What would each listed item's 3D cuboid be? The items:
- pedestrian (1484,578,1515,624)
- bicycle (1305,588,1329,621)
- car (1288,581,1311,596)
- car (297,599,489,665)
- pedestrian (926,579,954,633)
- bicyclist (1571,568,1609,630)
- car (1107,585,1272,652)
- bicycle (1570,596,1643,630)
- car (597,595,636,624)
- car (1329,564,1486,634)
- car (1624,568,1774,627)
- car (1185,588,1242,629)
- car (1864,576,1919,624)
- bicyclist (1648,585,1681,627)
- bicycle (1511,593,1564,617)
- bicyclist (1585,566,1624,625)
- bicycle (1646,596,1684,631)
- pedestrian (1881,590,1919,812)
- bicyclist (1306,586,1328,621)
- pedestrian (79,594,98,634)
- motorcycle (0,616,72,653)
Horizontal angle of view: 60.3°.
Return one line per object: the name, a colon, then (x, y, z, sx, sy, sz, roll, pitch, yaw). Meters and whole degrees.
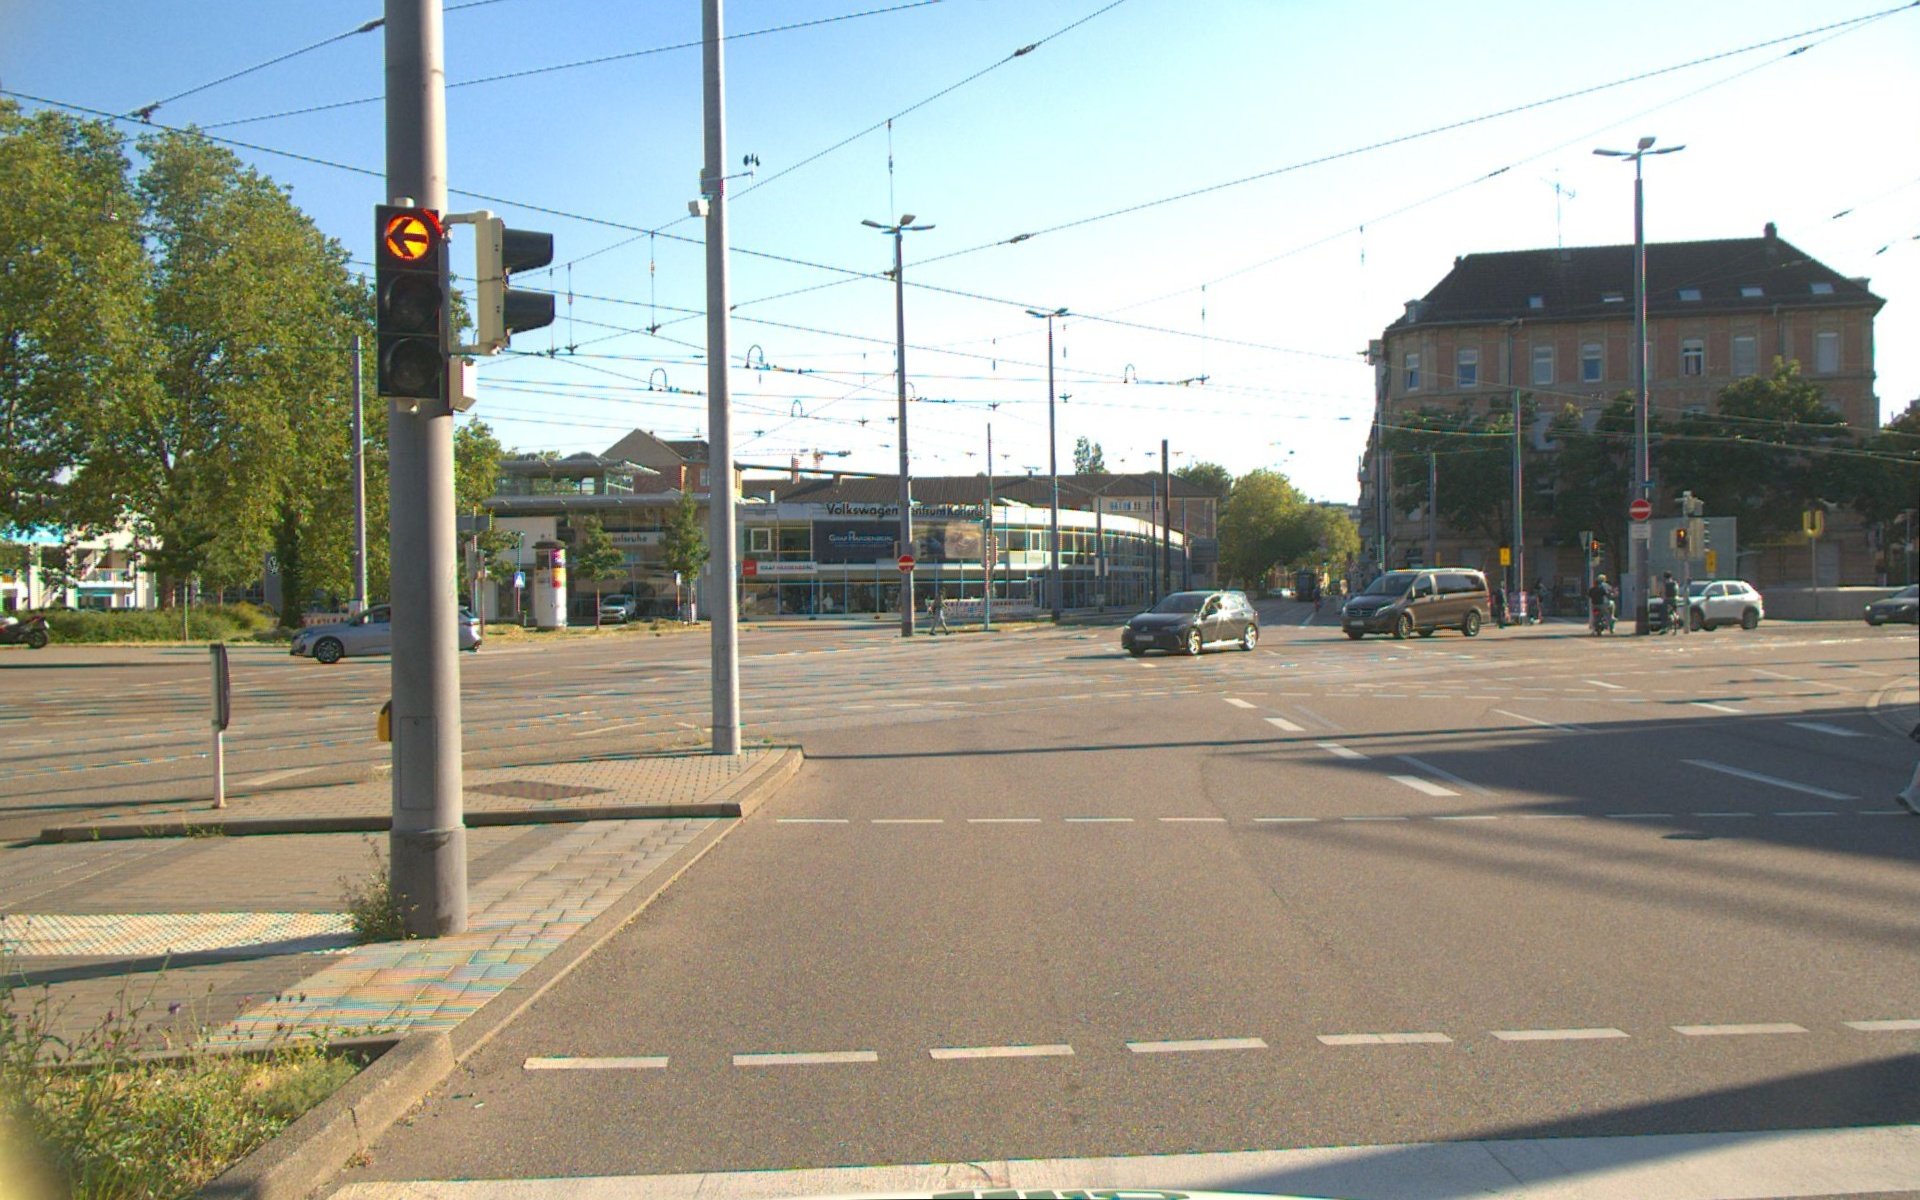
pedestrian: (20.457, 0.035, 62.755, 0.905, 1.705, 0.782, -1, 0, -1)
bicycle: (20.231, 0.233, 93.692, 1.111, 1.719, 4.003, 1, 2, 16)
car: (39.591, -1.360, 192.895, 1.765, 1.684, 3.917, 0, 2, -2)
car: (-14.305, 0.778, 41.747, 4.481, 1.544, 1.940, -1, 0, -23)
pedestrian: (-0.711, 0.204, 57.948, 0.969, 1.848, 0.920, 0, 2, -3)
bicyclist: (18.489, -0.021, 48.514, 0.577, 1.809, 0.858, -1, 0, -31)
car: (5.562, 0.419, 39.845, 1.920, 1.512, 4.075, -1, 0, 44)
bicycle: (19.122, 0.366, 48.908, 2.274, 0.921, 0.851, -1, 2, -32)
car: (-20.823, 0.563, 100.432, 1.955, 1.561, 3.995, 0, 2, -6)
car: (12.973, -0.060, 47.825, 4.802, 1.926, 1.927, -1, 0, -39)
car: (24.104, -0.101, 53.931, 4.779, 1.830, 1.936, -1, 0, -28)
car: (10.438, 0.342, 68.354, 1.906, 1.622, 4.619, -1, 0, 4)
car: (34.351, -0.025, 58.619, 4.288, 1.590, 1.937, -1, 2, -25)
bicyclist: (20.838, 0.171, 48.908, 0.839, 1.197, 0.715, 1, 2, 20)
bicycle: (25.242, 0.205, 72.278, 2.266, 0.996, 0.854, -1, 2, -25)
bicyclist: (19.034, -0.146, 48.832, 0.643, 1.720, 0.851, -1, 2, -32)
bicycle: (20.836, 0.393, 48.884, 0.839, 0.921, 2.305, 1, 2, 19)
pedestrian: (7.634, 0.749, 12.393, 1.073, 1.634, 0.697, 0, 2, -11)
bicyclist: (20.217, 0.202, 93.661, 1.095, 1.933, 1.074, 1, 2, 17)
pedestrian: (-44.264, 0.707, 84.013, 0.576, 2.049, 0.710, -1, 0, -1)
motorcycle: (-28.220, 1.040, 50.054, 2.246, 1.072, 0.685, 0, 2, -14)
